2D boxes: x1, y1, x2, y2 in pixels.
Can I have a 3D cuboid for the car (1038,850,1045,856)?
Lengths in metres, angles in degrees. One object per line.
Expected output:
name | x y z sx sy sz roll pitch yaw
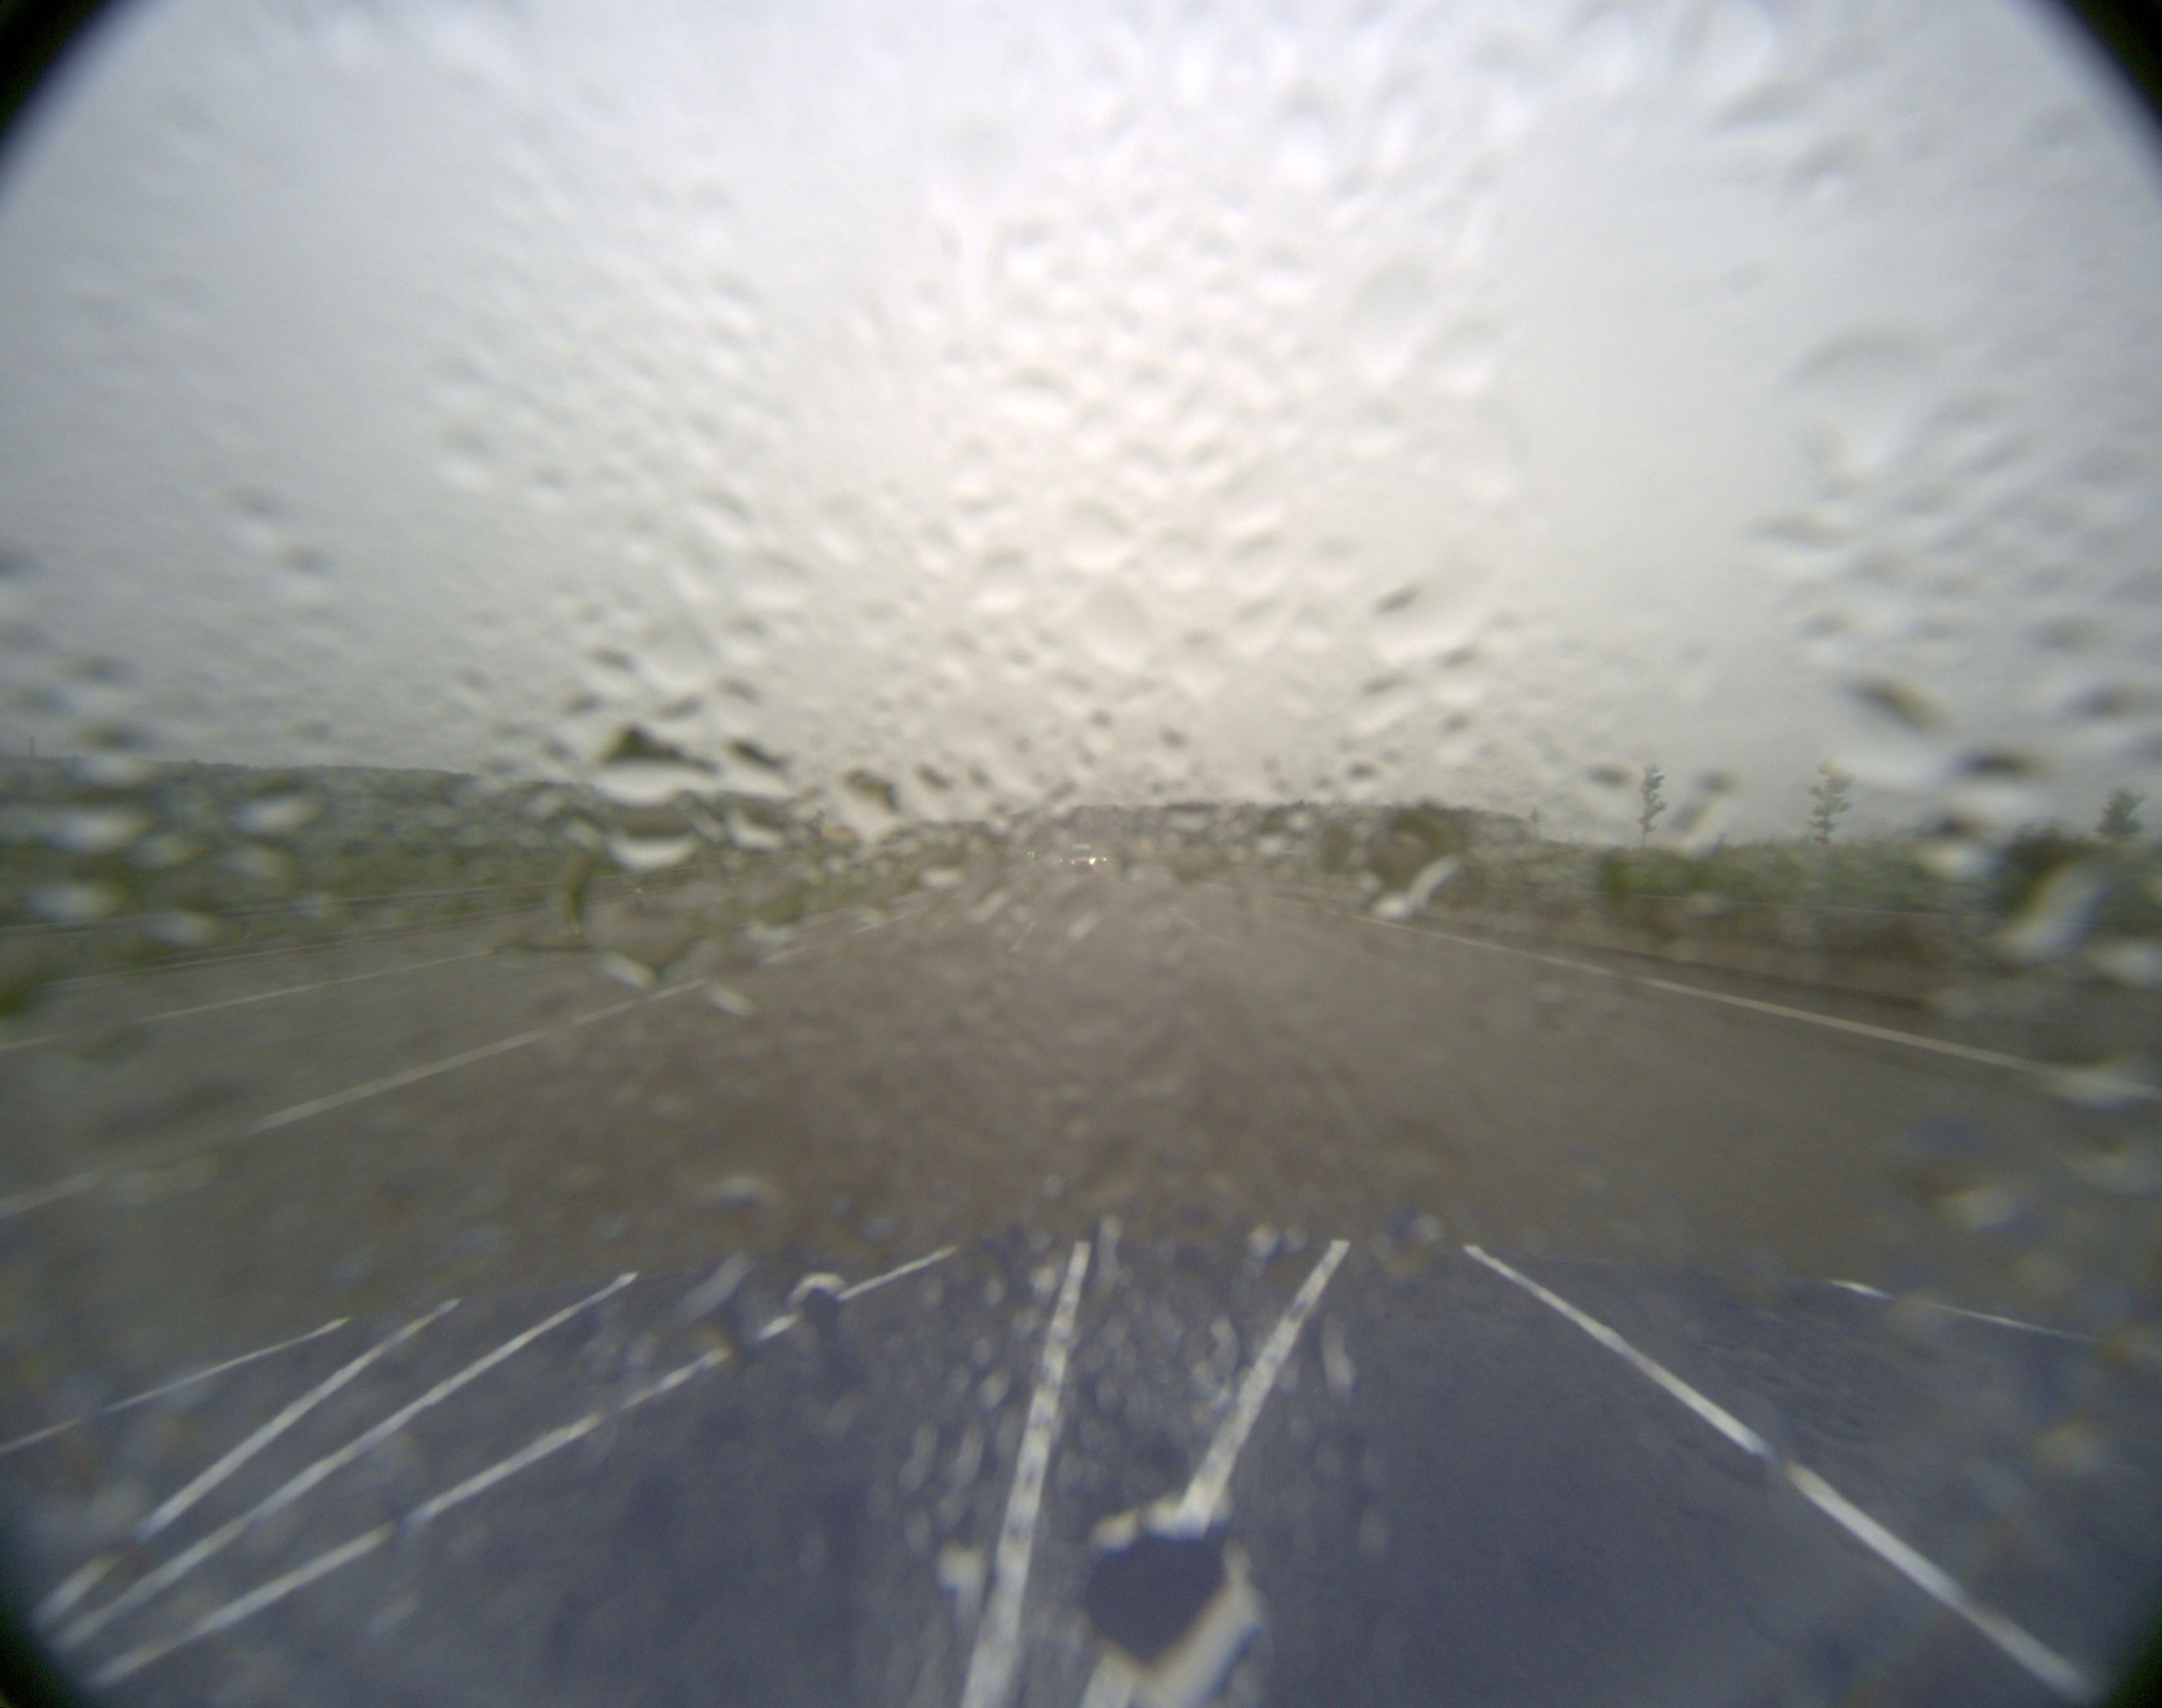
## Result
car | -10.778 -0.288 207.730 1.999 1.543 3.999 -2 0 -2

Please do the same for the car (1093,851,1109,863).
car | 2.778 0.365 107.263 1.999 1.608 3.999 -1 0 -1

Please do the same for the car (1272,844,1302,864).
car | 16.422 -0.001 60.725 1.323 1.472 3.827 -2 0 0

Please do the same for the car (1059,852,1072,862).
car | -2.472 0.514 121.934 1.998 1.521 4.000 -1 0 1

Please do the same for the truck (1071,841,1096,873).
truck | 0.317 0.203 71.504 1.998 2.699 7.999 -2 1 2

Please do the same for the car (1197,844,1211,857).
car | 17.530 -0.491 108.367 1.499 1.717 3.172 -2 1 -1
